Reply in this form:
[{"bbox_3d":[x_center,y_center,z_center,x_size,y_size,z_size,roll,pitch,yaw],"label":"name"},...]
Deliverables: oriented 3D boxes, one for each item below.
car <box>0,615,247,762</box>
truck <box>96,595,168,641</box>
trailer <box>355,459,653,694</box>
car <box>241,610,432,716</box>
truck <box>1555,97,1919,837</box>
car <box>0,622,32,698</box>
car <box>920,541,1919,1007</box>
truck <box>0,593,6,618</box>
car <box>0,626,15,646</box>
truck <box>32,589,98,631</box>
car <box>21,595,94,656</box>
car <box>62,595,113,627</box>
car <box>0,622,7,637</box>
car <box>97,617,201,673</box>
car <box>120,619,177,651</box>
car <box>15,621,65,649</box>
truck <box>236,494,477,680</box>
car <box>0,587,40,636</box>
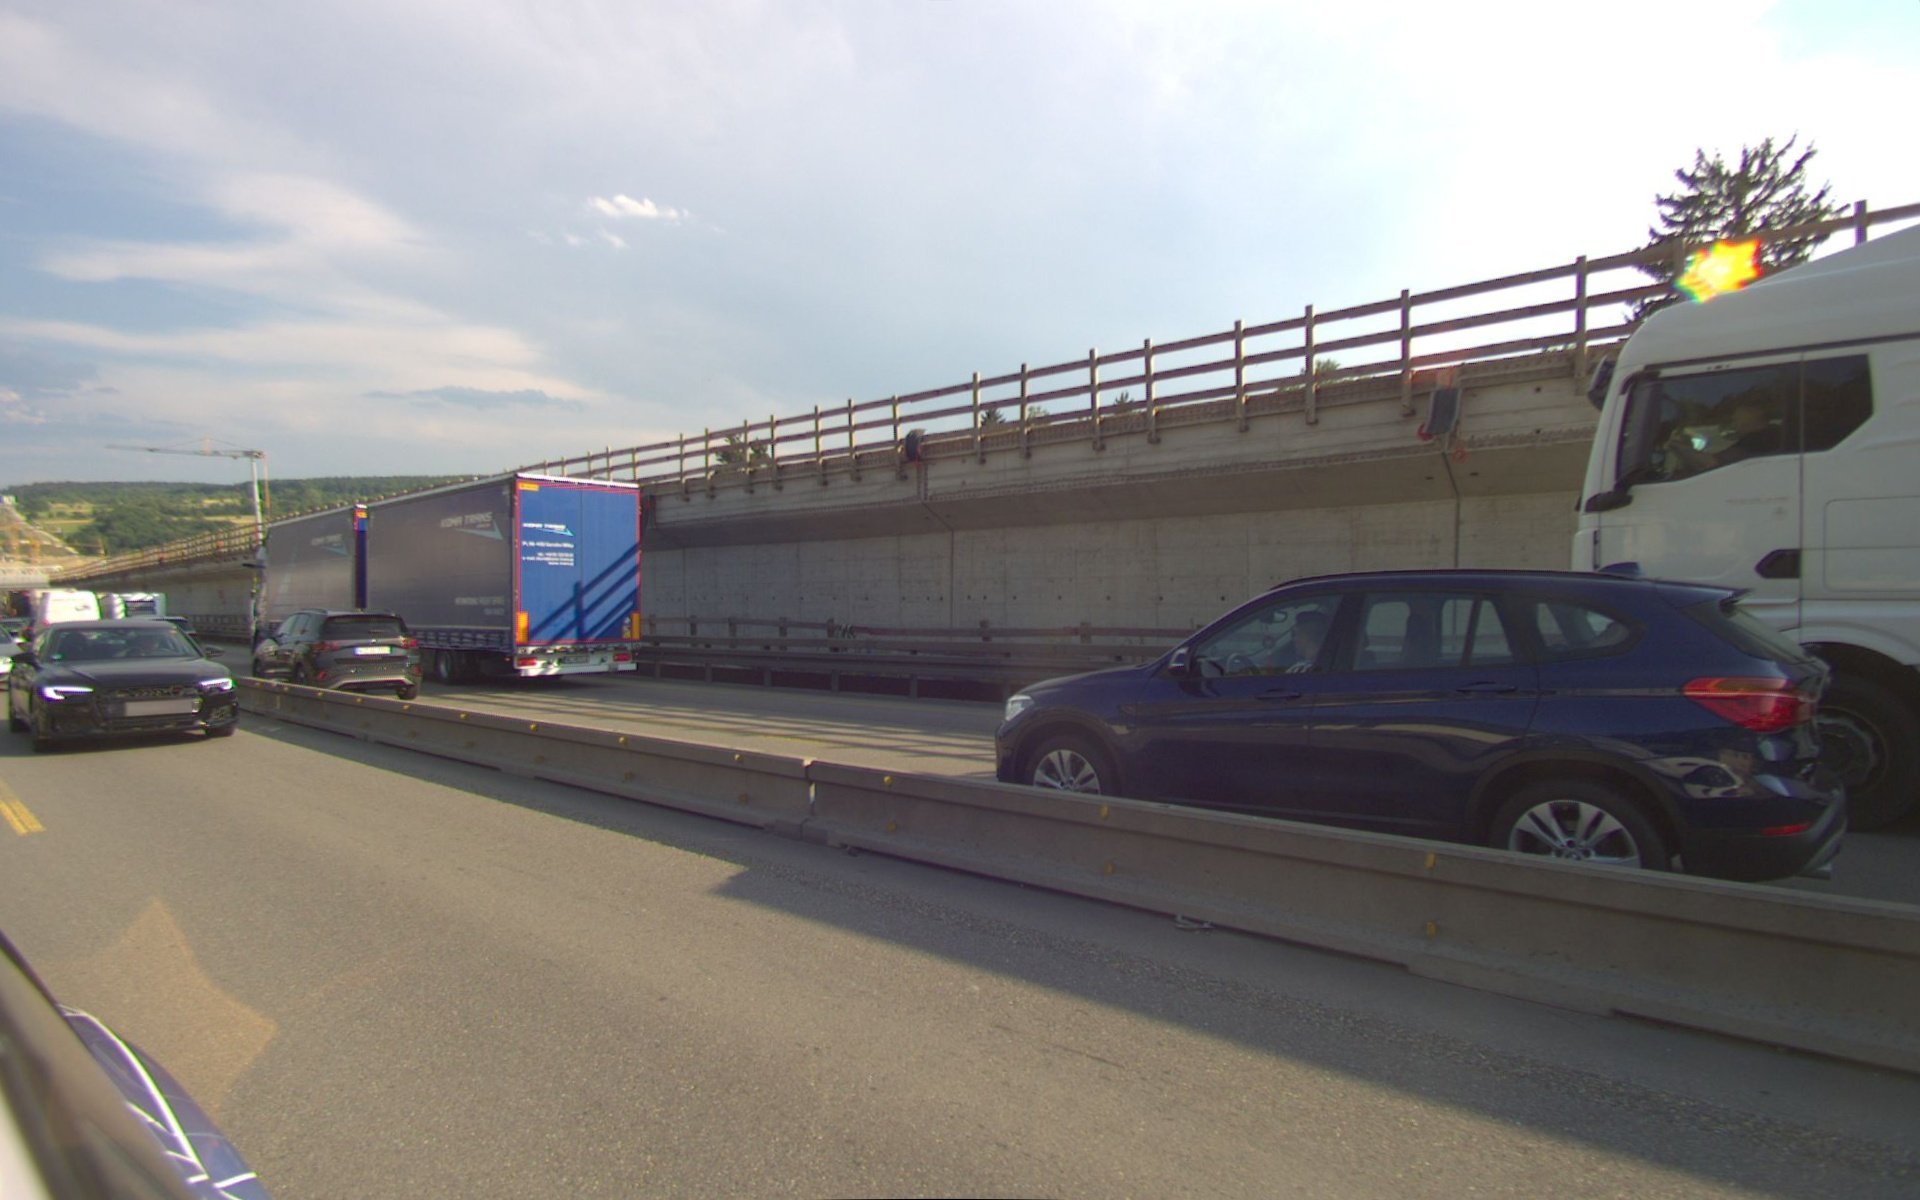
[{"bbox_3d":[-10.849,0.964,12.833,5.221,1.491,1.919,-2,-2,43],"label":"car"},{"bbox_3d":[-46.682,0.998,57.001,6.064,2.318,2.250,-1,3,43],"label":"truck"},{"bbox_3d":[-10.024,-0.367,21.672,8.285,4.136,2.785,-1,-1,42],"label":"trailer"},{"bbox_3d":[-10.880,0.994,17.522,4.369,1.588,1.681,-1,-1,42],"label":"car"},{"bbox_3d":[7.094,-0.795,6.295,5.471,4.348,2.430,-1,-1,41],"label":"truck"},{"bbox_3d":[-20.805,1.211,20.881,4.113,1.498,1.788,-1,-1,38],"label":"car"},{"bbox_3d":[2.163,0.583,5.705,4.728,1.618,1.862,-1,2,40],"label":"car"},{"bbox_3d":[-129.627,0.768,135.813,5.763,3.196,1.972,-1,-1,43],"label":"truck"},{"bbox_3d":[-68.556,2.572,72.005,3.665,1.329,1.690,-1,3,43],"label":"car"},{"bbox_3d":[-70.501,0.784,79.668,6.487,3.169,3.200,-1,-1,42],"label":"truck"},{"bbox_3d":[-41.476,1.163,46.479,5.613,2.636,1.974,-2,-2,43],"label":"car"},{"bbox_3d":[-60.838,0.800,70.576,3.973,2.037,2.185,-1,3,43],"label":"car"},{"bbox_3d":[-86.135,2.654,90.060,3.665,1.329,1.690,-1,3,43],"label":"car"},{"bbox_3d":[-24.186,1.294,30.116,4.591,1.451,1.724,-2,1,43],"label":"car"},{"bbox_3d":[-39.678,1.673,49.467,1.689,1.397,4.003,-5,3,-44],"label":"car"},{"bbox_3d":[-49.802,1.861,54.759,3.665,1.329,1.690,-1,3,43],"label":"car"},{"bbox_3d":[-17.008,-0.233,28.007,10.579,4.290,2.785,-1,-1,42],"label":"truck"},{"bbox_3d":[-111.633,1.390,119.822,14.304,5.428,3.282,-1,-1,45],"label":"car"}]
